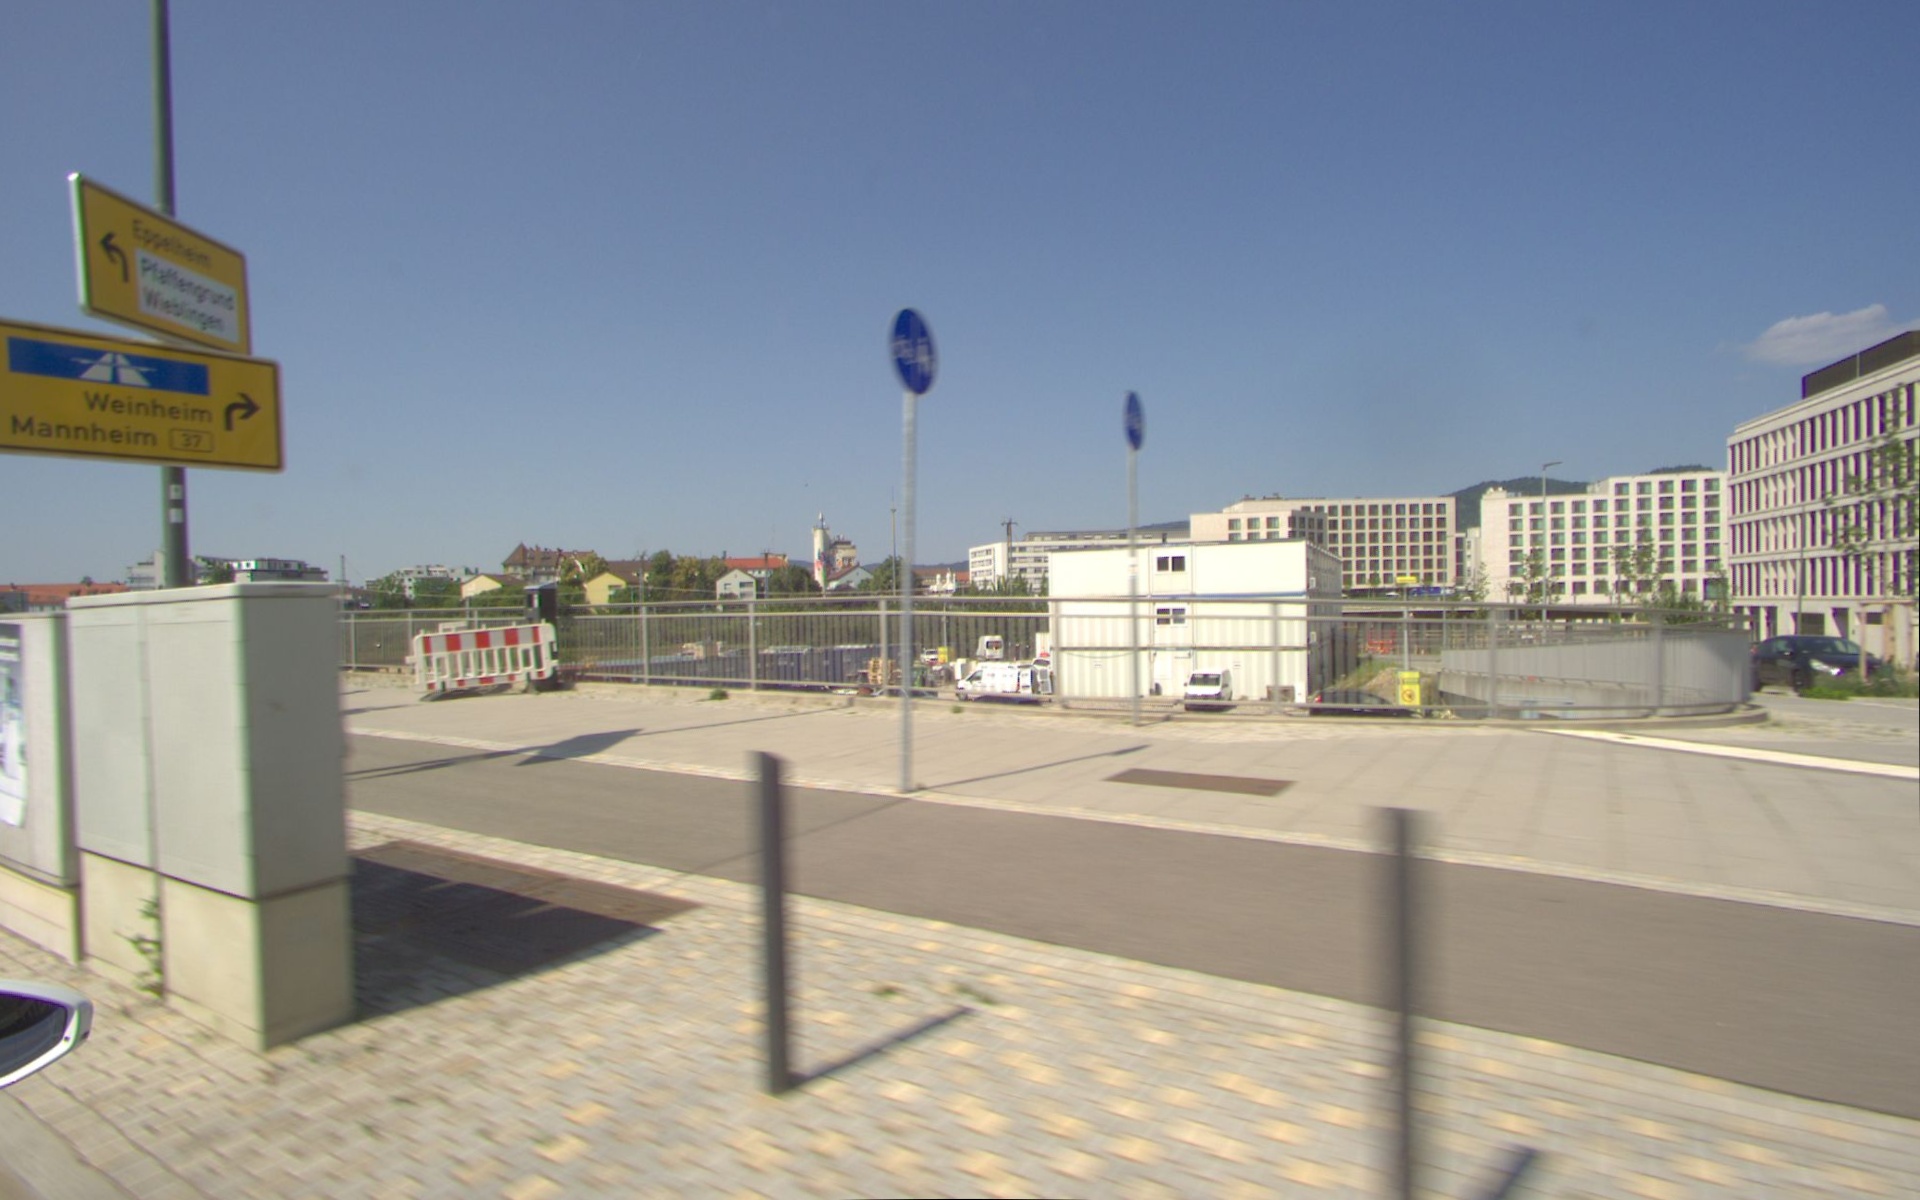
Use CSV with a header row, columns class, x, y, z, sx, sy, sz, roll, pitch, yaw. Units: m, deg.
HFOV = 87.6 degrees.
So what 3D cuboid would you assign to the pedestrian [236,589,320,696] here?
class,x,y,z,sx,sy,sz,roll,pitch,yaw
pedestrian,-10.937,0.659,16.057,0.936,1.631,0.748,-1,3,35
